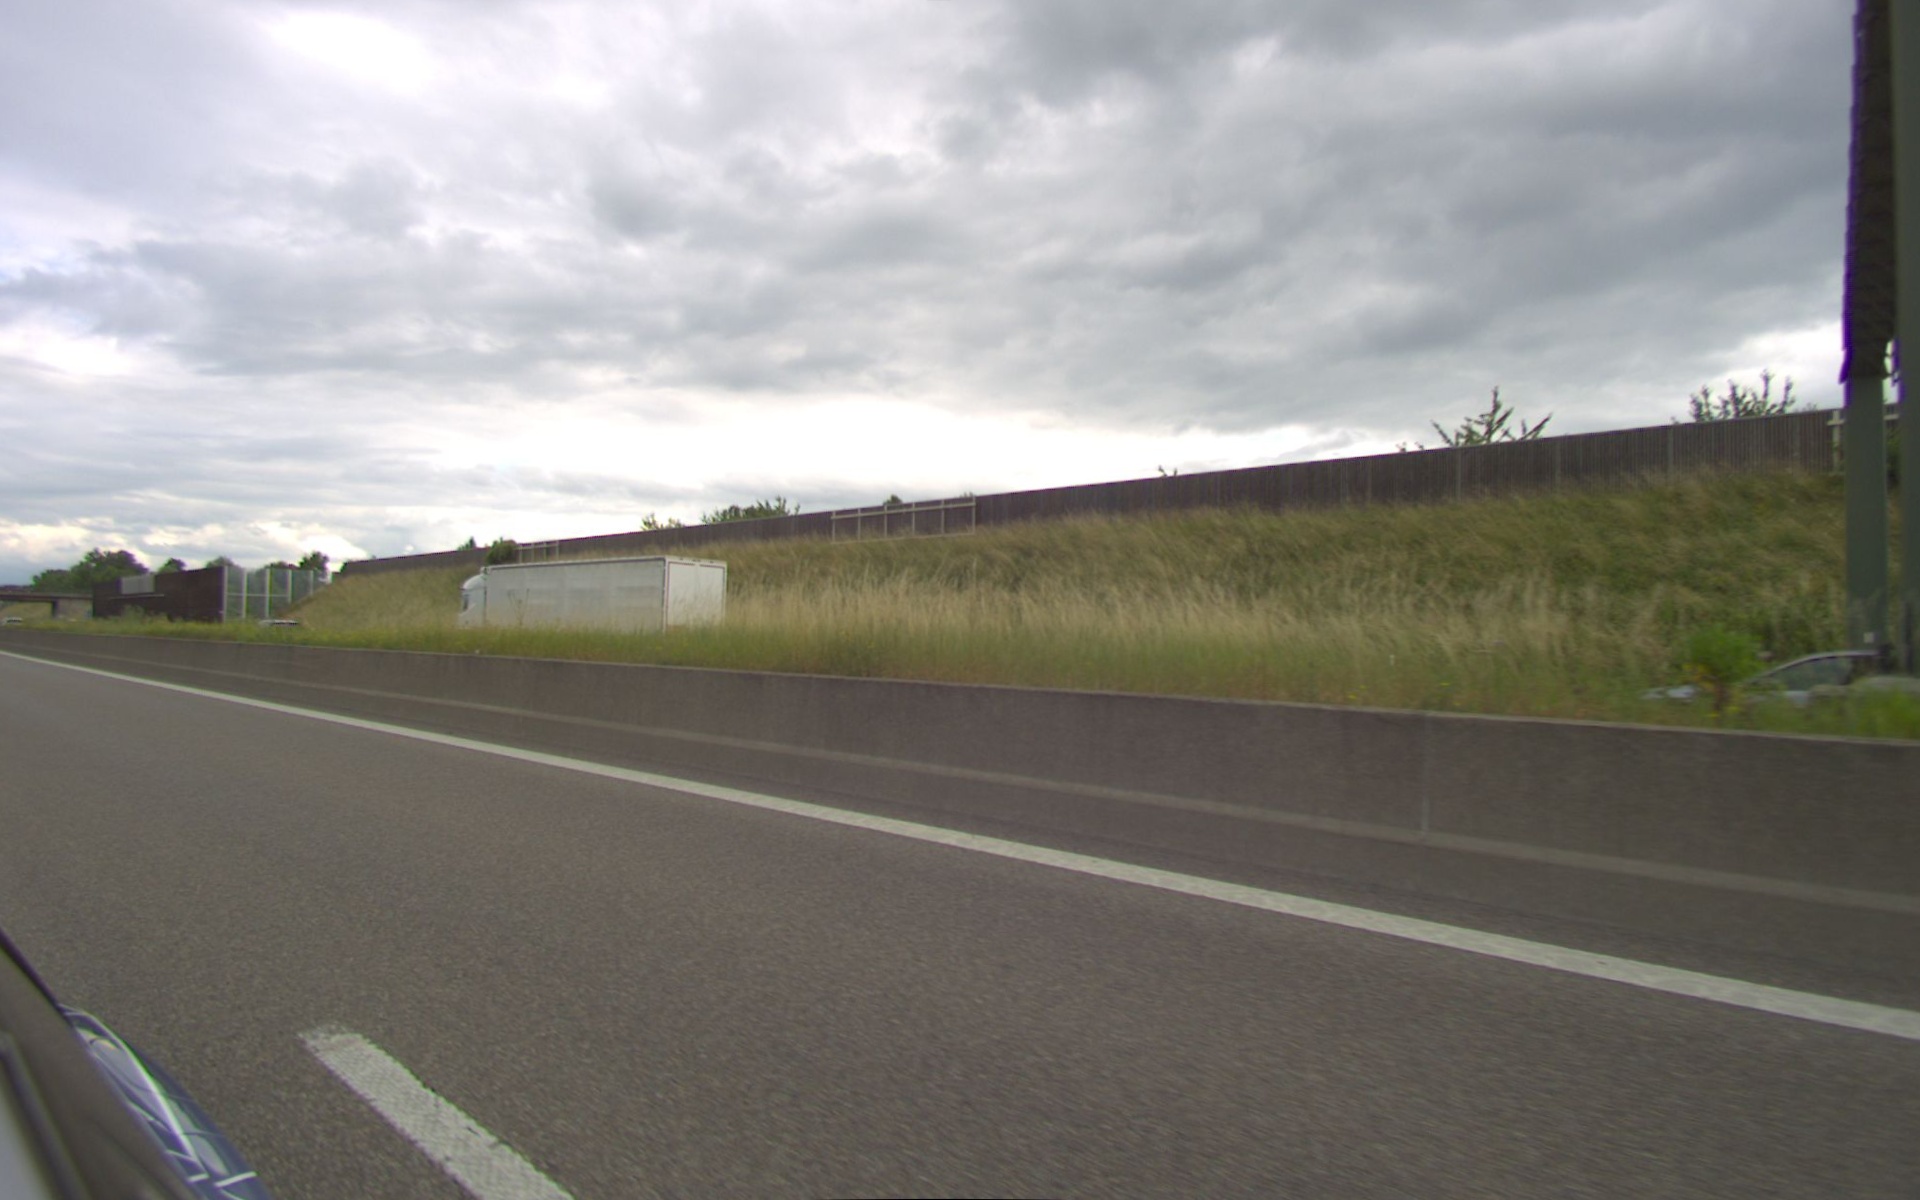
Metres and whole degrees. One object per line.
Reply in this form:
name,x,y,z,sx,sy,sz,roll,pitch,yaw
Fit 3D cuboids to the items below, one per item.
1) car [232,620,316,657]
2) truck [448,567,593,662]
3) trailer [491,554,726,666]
car,-28.026,1.530,41.324,3.745,1.374,1.973,-1,0,41
truck,-18.773,0.667,42.951,7.486,3.705,2.697,-1,-3,42
trailer,-13.686,0.470,38.430,12.259,3.705,2.747,-1,-3,42
